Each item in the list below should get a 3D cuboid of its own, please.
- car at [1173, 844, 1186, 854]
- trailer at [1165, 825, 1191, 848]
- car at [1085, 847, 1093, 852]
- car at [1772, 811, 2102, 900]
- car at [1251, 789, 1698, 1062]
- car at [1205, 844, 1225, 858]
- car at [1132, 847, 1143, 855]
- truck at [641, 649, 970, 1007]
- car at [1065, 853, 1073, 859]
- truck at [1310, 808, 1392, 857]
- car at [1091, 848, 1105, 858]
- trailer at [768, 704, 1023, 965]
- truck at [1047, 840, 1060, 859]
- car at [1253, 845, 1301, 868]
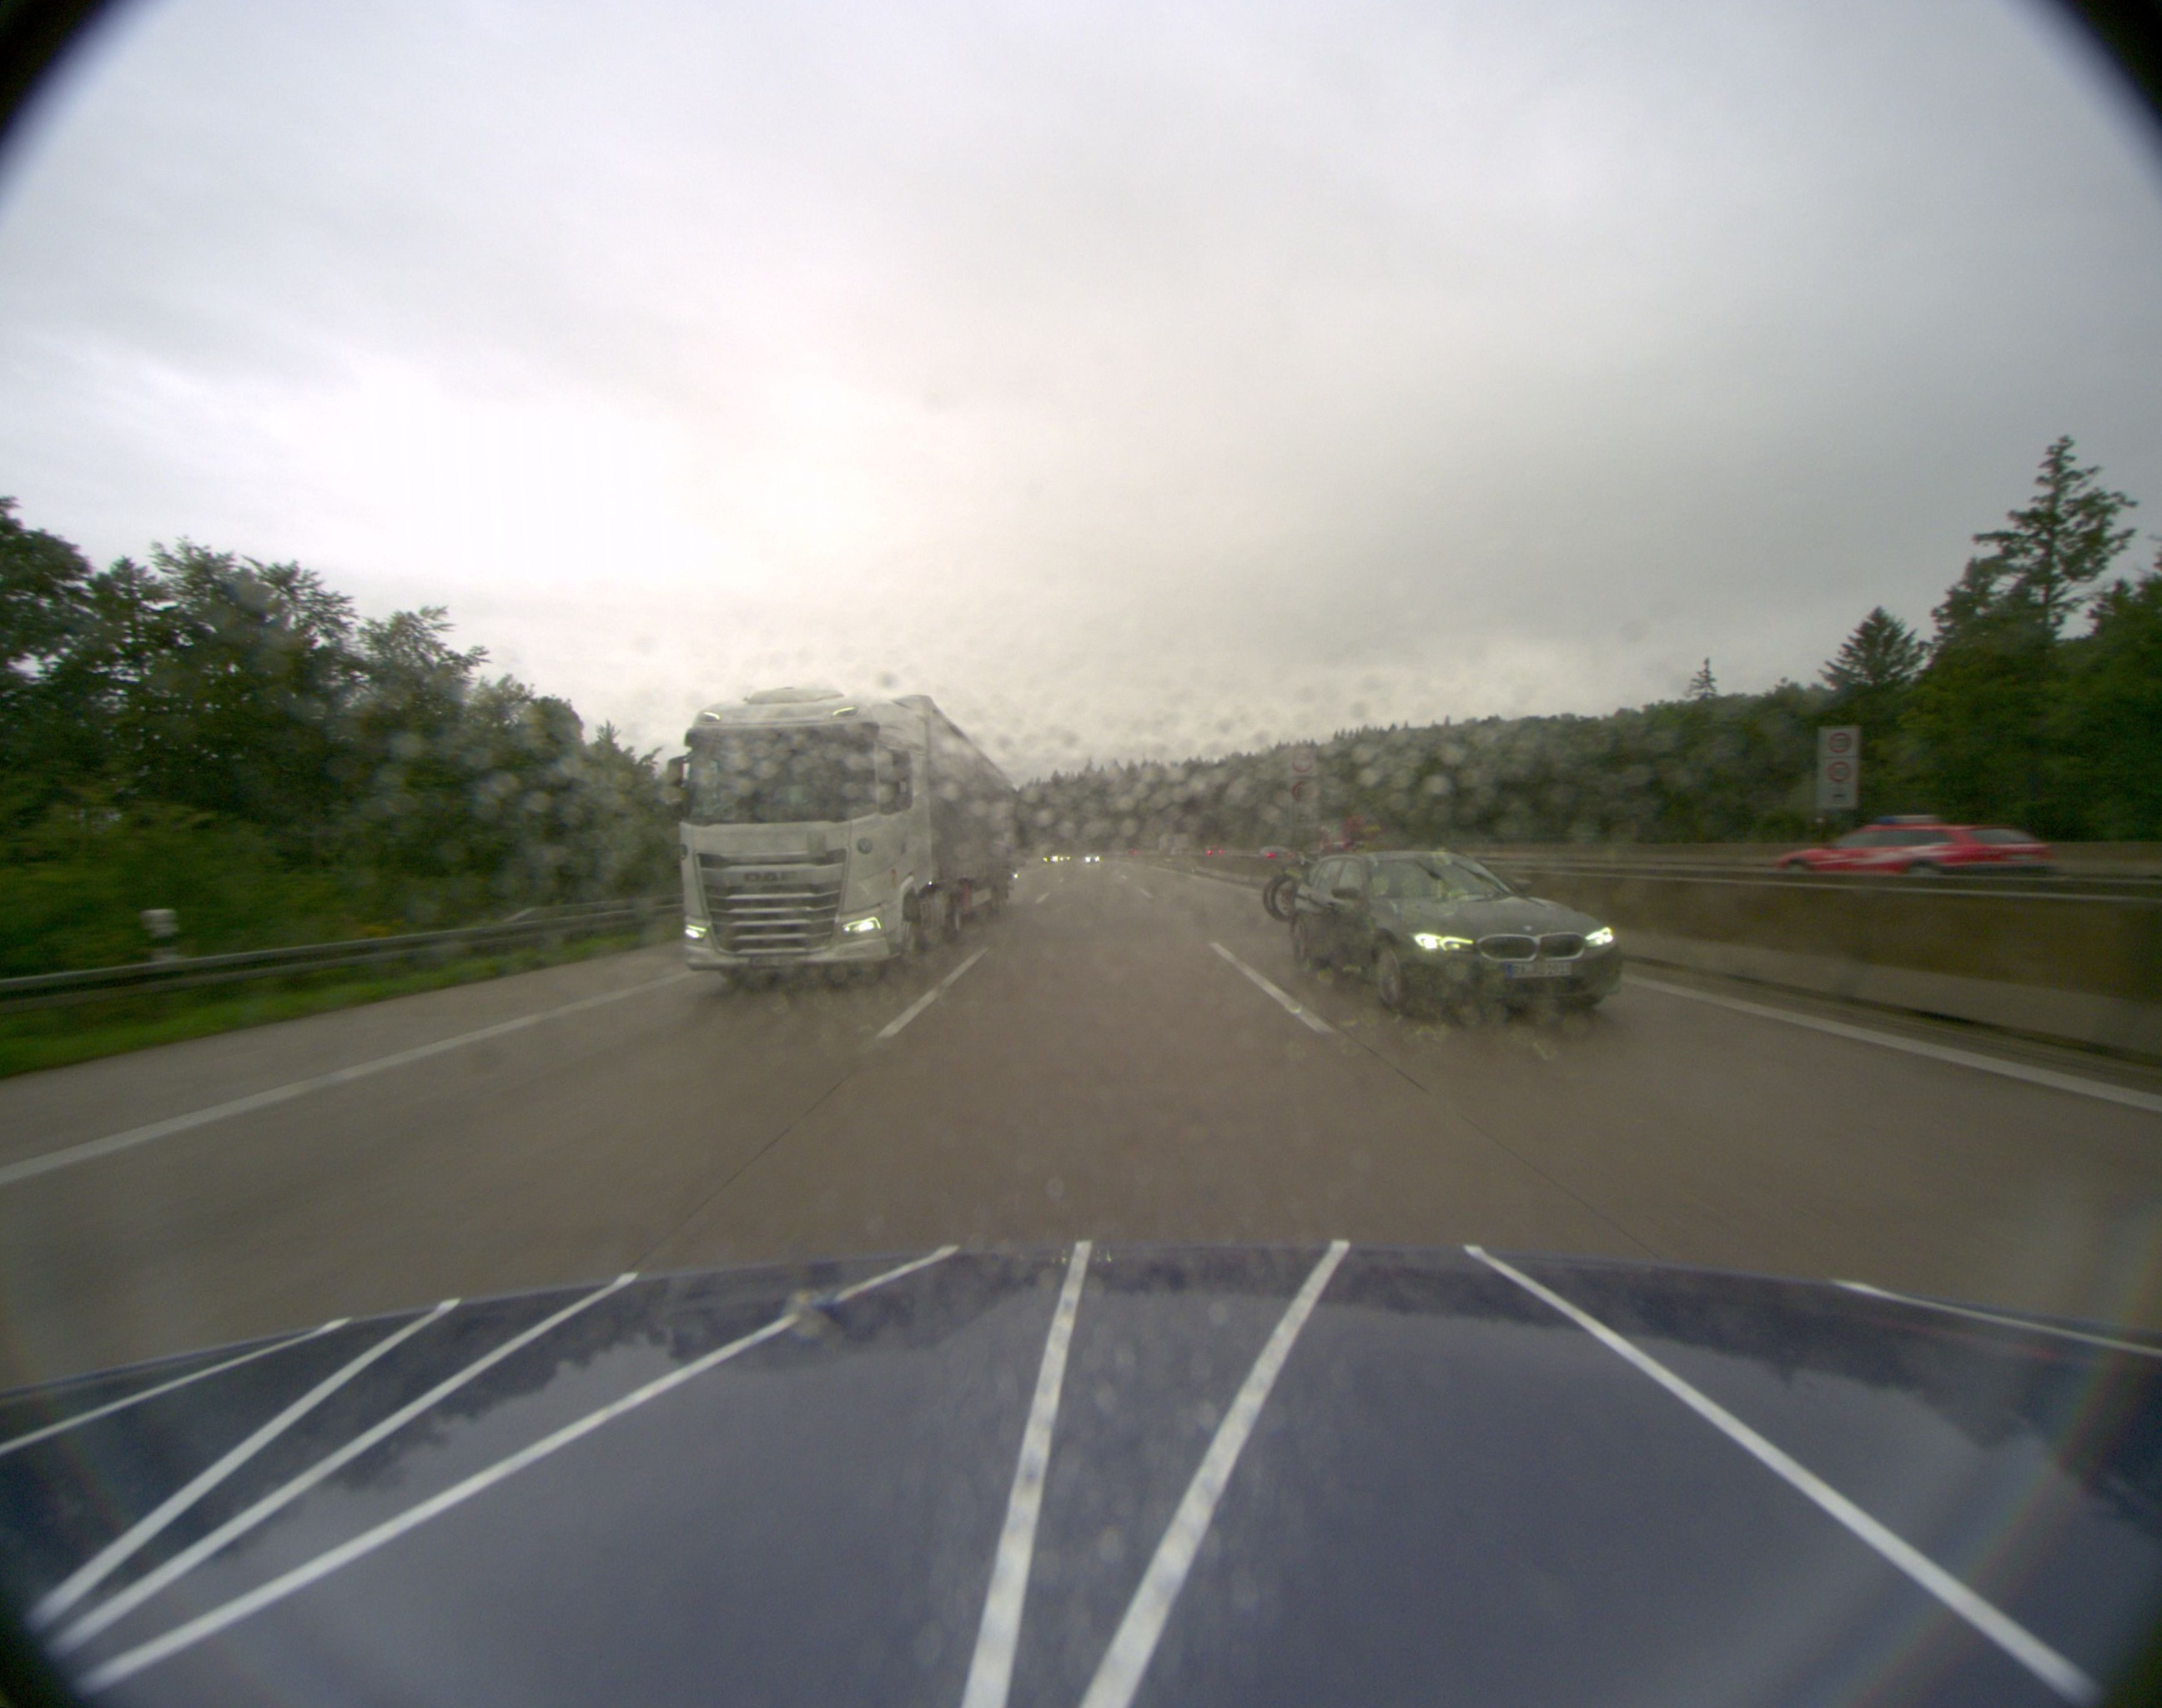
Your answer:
[{"bbox_3d":[16.154,-0.861,124.685,1.661,1.512,3.638,-3,1,1],"label":"car"},{"bbox_3d":[18.588,-3.262,146.071,2.954,4.009,13.785,-3,0,-1],"label":"trailer"},{"bbox_3d":[2.564,-1.457,236.448,1.999,1.539,4.216,-3,0,-4],"label":"car"},{"bbox_3d":[19.103,-0.002,17.437,1.998,1.689,4.974,-2,1,1],"label":"car"},{"bbox_3d":[3.564,0.497,8.619,1.912,1.933,6.162,-2,1,1],"label":"car"},{"bbox_3d":[16.280,-0.411,92.592,1.709,1.569,4.267,-3,1,1],"label":"car"},{"bbox_3d":[11.368,-0.613,154.107,1.890,1.539,4.777,-3,0,1],"label":"car"},{"bbox_3d":[-3.547,-0.308,11.500,2.728,4.018,5.752,-1,1,1],"label":"truck"},{"bbox_3d":[-2.881,0.524,175.130,1.717,1.399,4.934,-1,0,-2],"label":"car"},{"bbox_3d":[19.818,-1.494,56.557,2.438,3.156,10.661,-2,0,1],"label":"truck"},{"bbox_3d":[2.420,-0.142,109.008,1.717,1.399,4.935,-1,0,-1],"label":"car"},{"bbox_3d":[-3.379,-0.353,18.582,2.686,4.017,13.703,0,0,1],"label":"trailer"},{"bbox_3d":[-6.092,-0.889,169.321,2.738,4.127,8.620,-2,0,-1],"label":"truck"},{"bbox_3d":[13.100,0.154,51.079,1.998,1.382,4.751,-2,0,1],"label":"car"}]
